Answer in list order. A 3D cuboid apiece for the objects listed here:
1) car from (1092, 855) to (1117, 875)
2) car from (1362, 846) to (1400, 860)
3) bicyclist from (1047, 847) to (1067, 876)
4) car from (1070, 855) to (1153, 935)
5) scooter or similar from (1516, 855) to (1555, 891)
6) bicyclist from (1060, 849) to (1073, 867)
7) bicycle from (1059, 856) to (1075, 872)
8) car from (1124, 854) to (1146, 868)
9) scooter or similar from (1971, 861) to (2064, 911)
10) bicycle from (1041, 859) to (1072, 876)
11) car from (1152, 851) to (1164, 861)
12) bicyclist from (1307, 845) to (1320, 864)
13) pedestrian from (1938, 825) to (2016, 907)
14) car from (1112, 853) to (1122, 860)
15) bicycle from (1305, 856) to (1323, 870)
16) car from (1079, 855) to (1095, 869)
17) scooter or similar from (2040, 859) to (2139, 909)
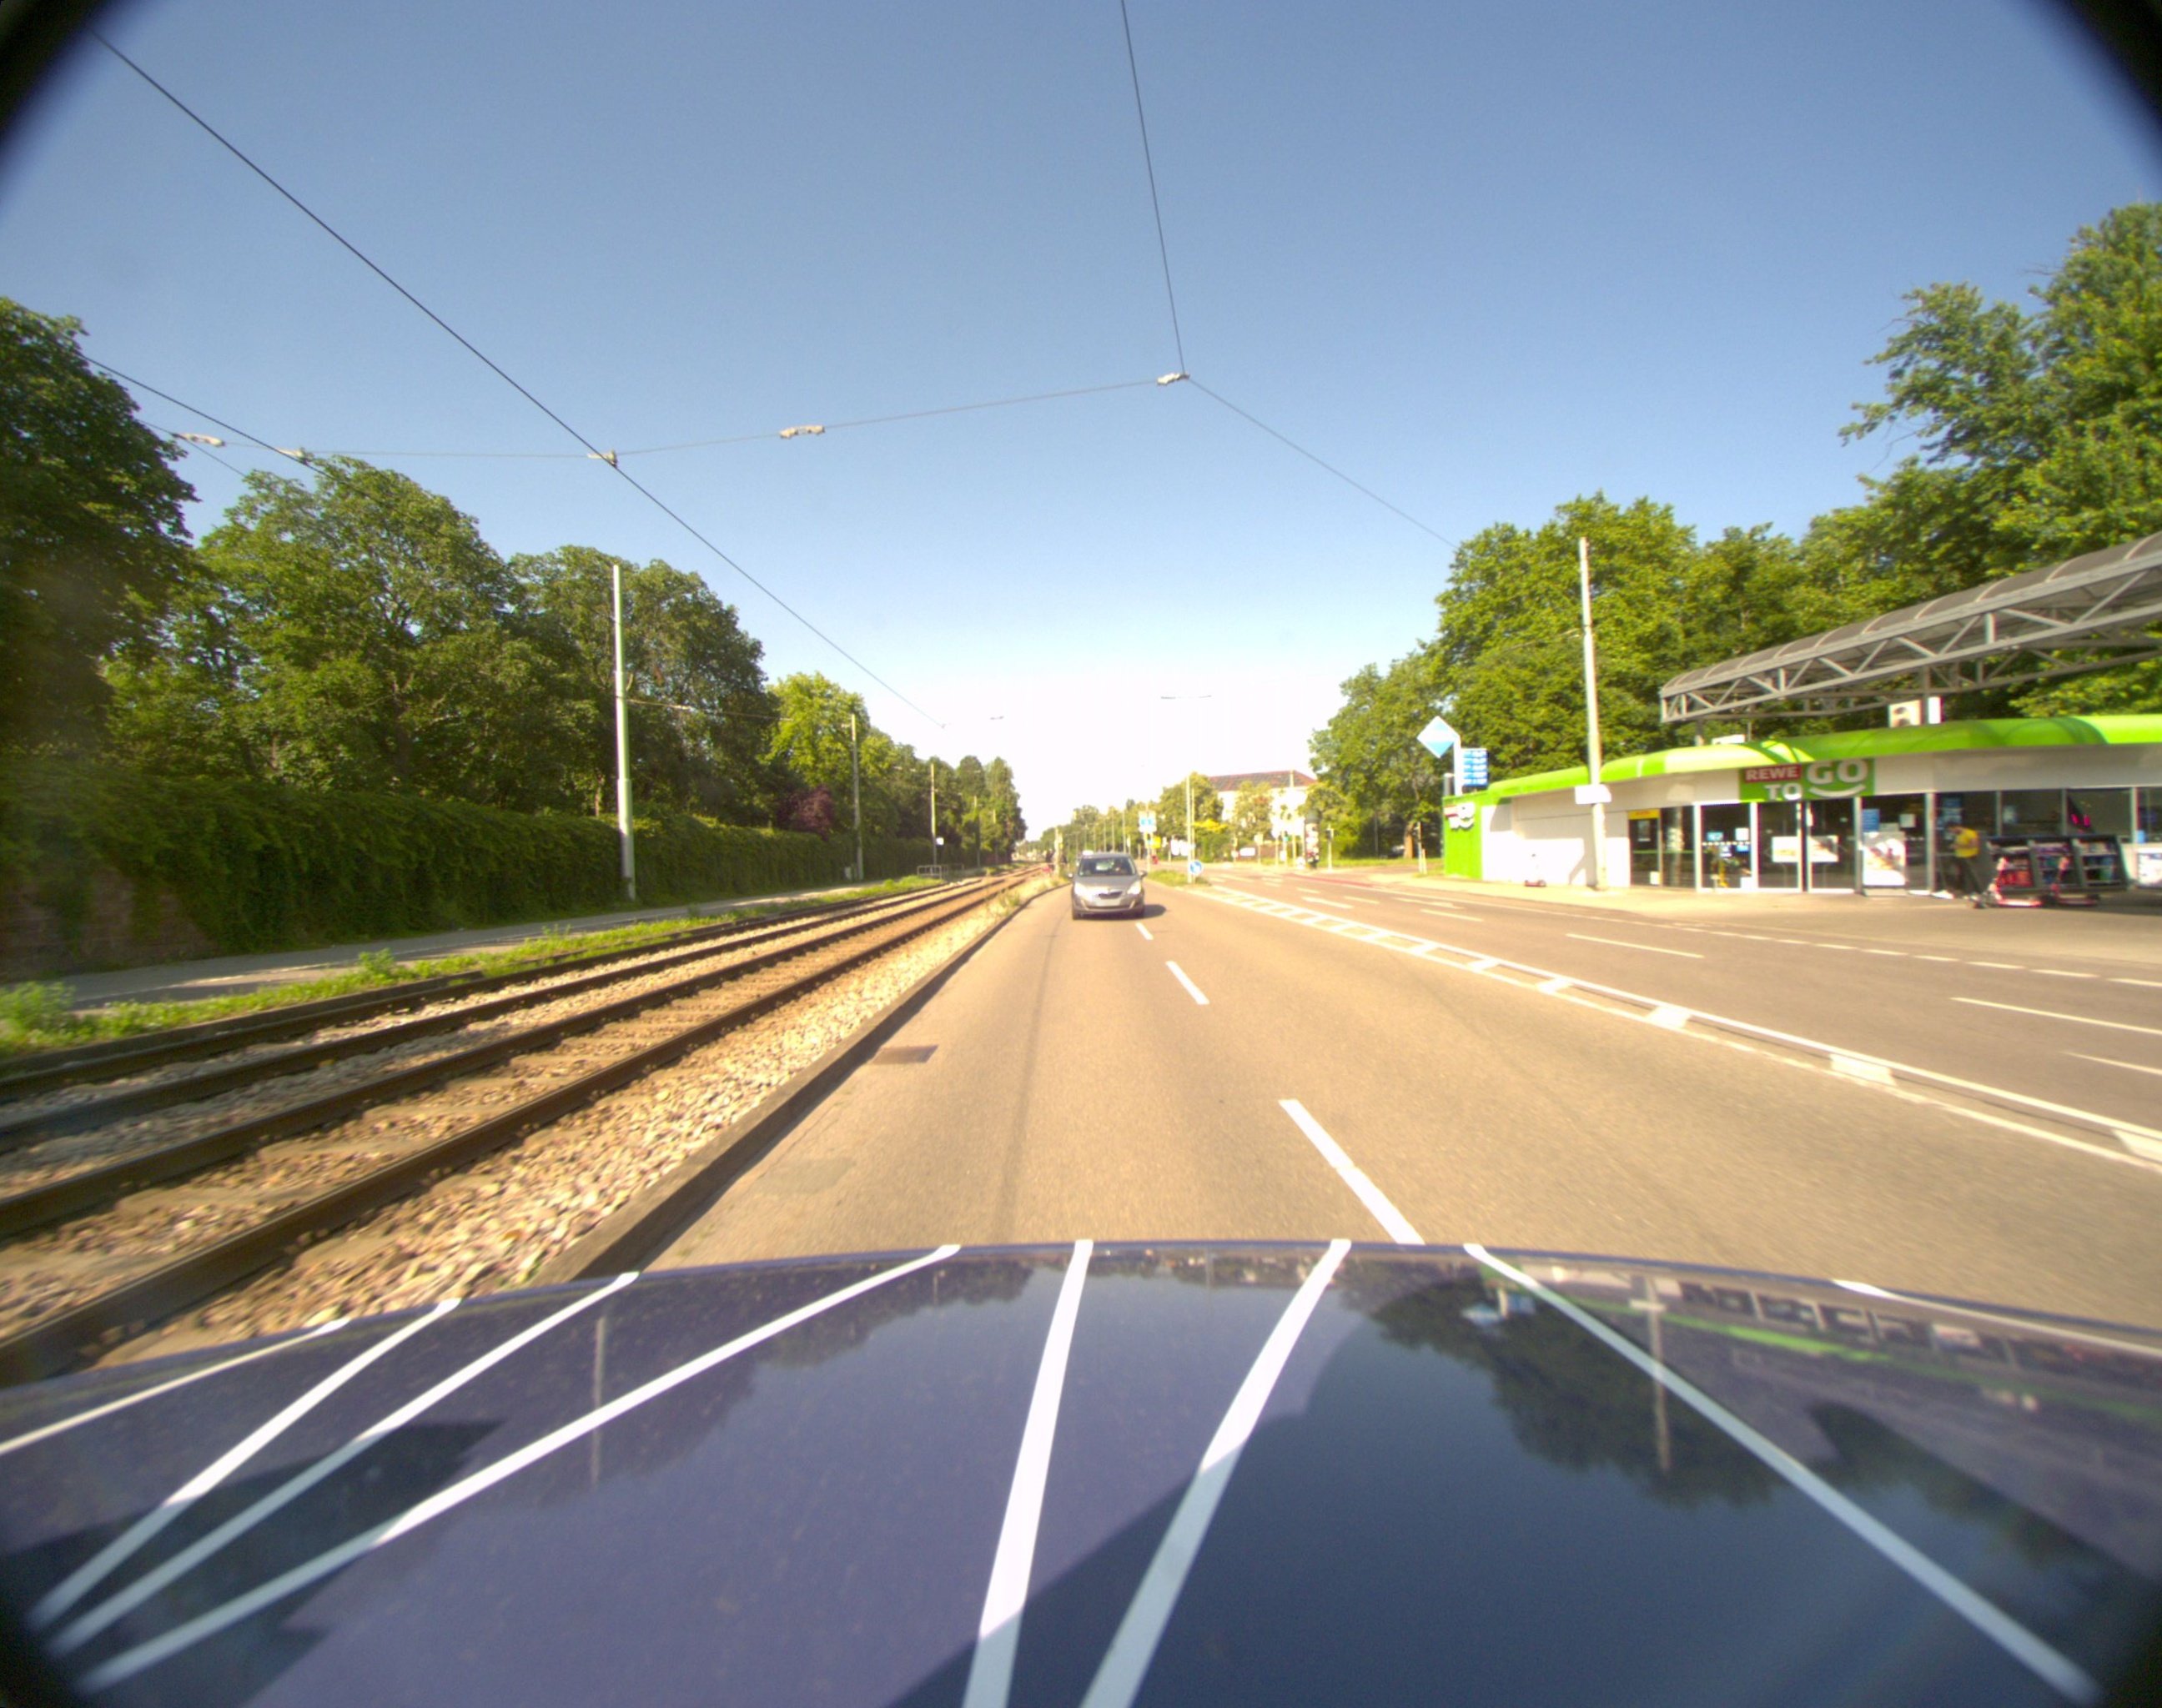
[{"bbox_3d":[1.888,0.898,63.026,1.710,1.513,3.832,-3,0,-3],"label":"car"},{"bbox_3d":[32.116,-0.120,81.432,3.420,1.300,1.509,-4,1,6],"label":"car"},{"bbox_3d":[-1.716,0.506,53.661,1.034,1.982,0.949,-1,1,24],"label":"bicyclist"},{"bbox_3d":[0.646,0.854,17.723,1.650,1.581,3.833,-3,0,0],"label":"car"},{"bbox_3d":[16.172,0.664,27.051,0.533,1.167,1.310,-7,0,3],"label":"scooter or similar"},{"bbox_3d":[-1.100,0.292,58.245,0.644,1.408,1.014,2,1,16],"label":"bicyclist"},{"bbox_3d":[-1.085,0.758,58.344,0.644,1.147,1.939,2,2,16],"label":"bicycle"},{"bbox_3d":[6.148,0.766,86.732,1.765,1.477,4.643,-3,0,-4],"label":"car"},{"bbox_3d":[19.202,0.642,15.591,1.262,0.981,0.499,-1,1,1],"label":"scooter or similar"},{"bbox_3d":[-1.725,0.962,53.674,1.922,1.108,0.949,-1,1,24],"label":"bicycle"},{"bbox_3d":[12.084,0.309,119.331,1.578,1.408,3.333,-2,0,1],"label":"car"},{"bbox_3d":[18.106,0.004,59.129,0.663,1.444,1.051,-2,1,3],"label":"bicyclist"},{"bbox_3d":[19.610,0.252,16.653,0.770,1.735,0.785,-1,1,6],"label":"pedestrian"},{"bbox_3d":[7.395,0.417,156.518,1.657,1.387,4.133,-2,0,-1],"label":"car"},{"bbox_3d":[18.120,0.675,59.113,0.663,1.043,2.581,-2,0,3],"label":"bicycle"},{"bbox_3d":[0.696,0.884,86.036,1.710,1.513,3.832,-3,0,0],"label":"car"},{"bbox_3d":[20.628,0.603,15.553,1.342,0.979,0.499,-1,1,1],"label":"scooter or similar"}]
